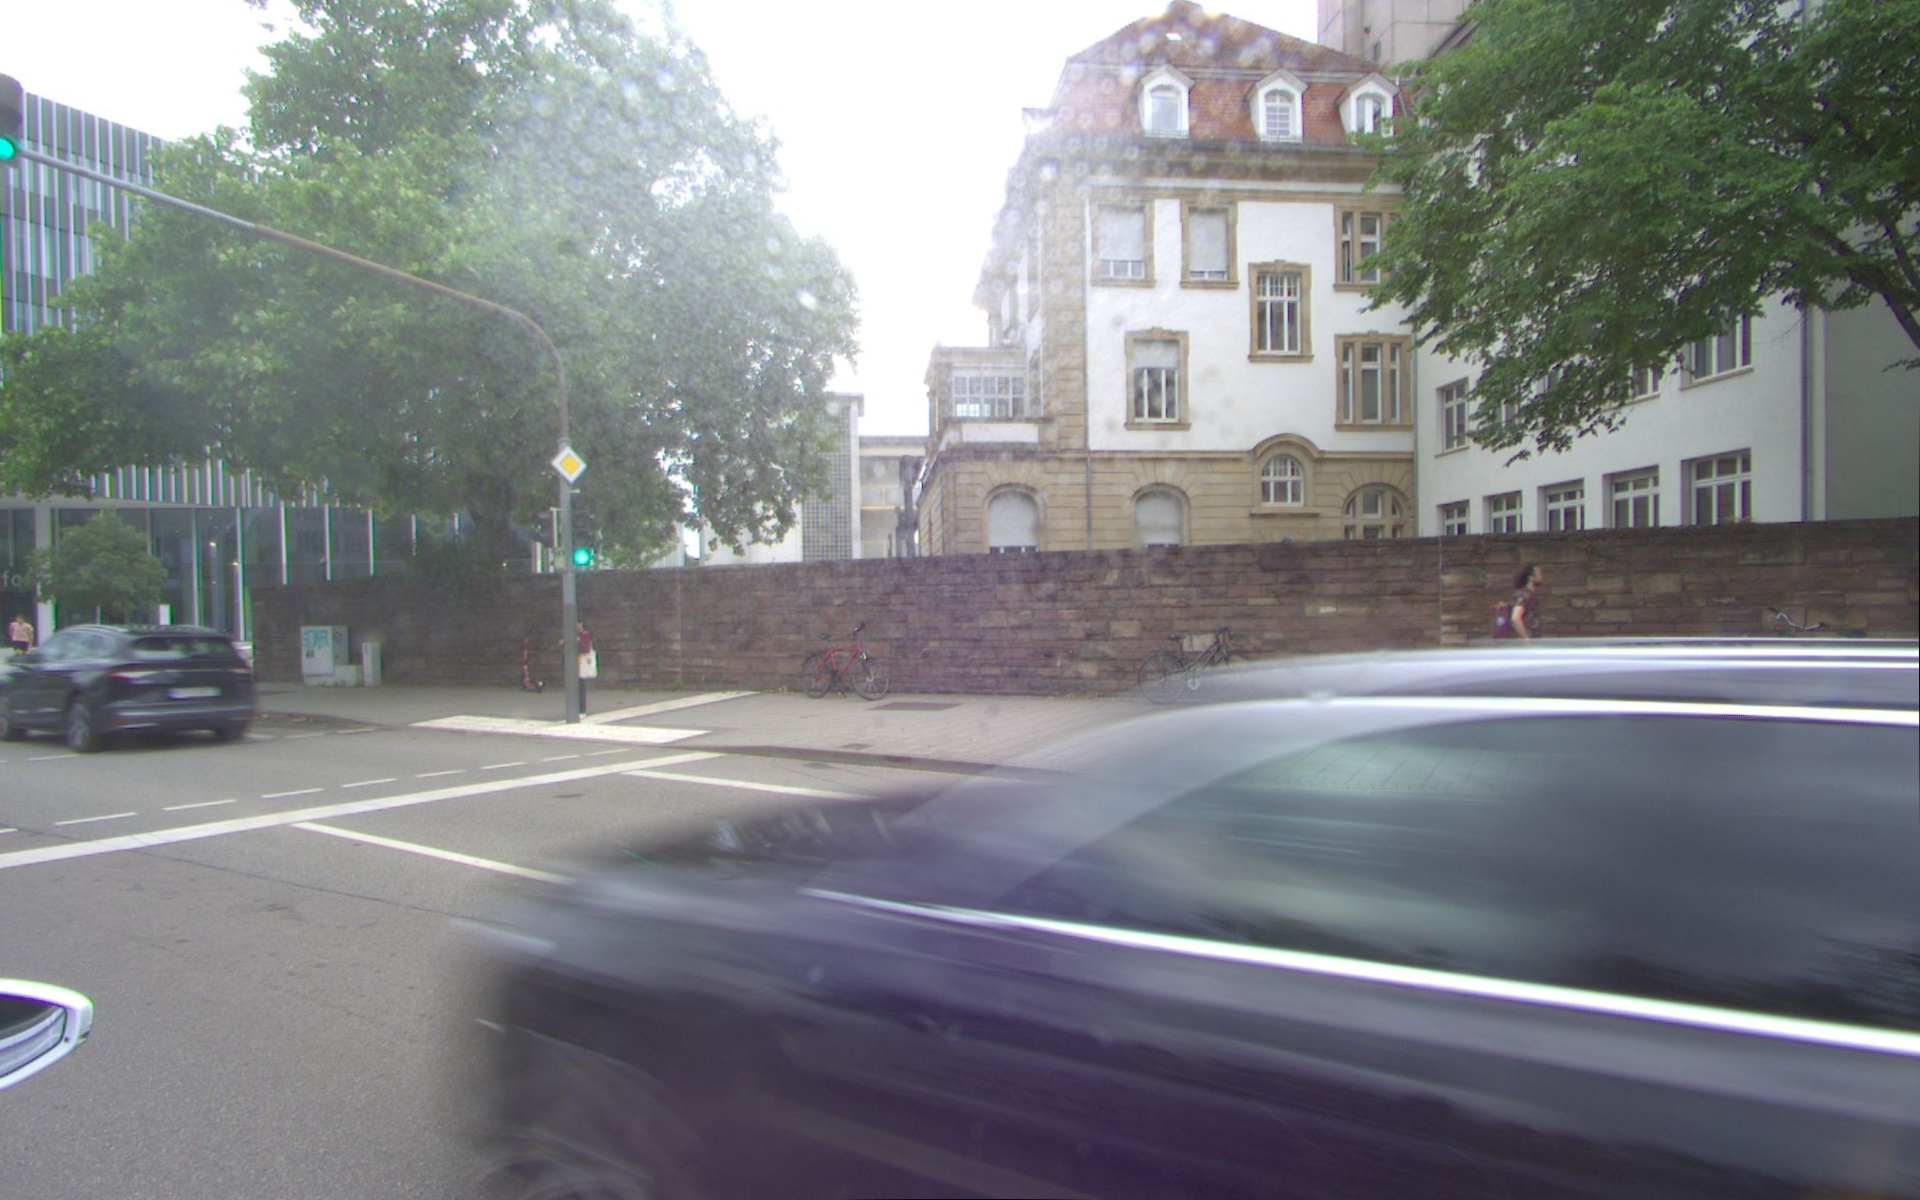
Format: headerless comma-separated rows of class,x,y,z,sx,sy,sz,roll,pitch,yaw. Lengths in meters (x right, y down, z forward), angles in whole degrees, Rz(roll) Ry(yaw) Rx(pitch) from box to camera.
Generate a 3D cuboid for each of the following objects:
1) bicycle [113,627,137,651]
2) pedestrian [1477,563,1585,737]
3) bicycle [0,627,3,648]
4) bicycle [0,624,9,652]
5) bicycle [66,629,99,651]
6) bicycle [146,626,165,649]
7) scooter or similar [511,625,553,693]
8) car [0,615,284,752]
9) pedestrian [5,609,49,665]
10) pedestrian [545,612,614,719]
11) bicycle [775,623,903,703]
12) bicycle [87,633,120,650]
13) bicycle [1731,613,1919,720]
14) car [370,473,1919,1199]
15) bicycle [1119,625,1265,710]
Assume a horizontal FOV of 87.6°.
bicycle,-40.479,1.861,48.551,0.802,1.070,1.933,-2,2,-38
pedestrian,6.336,0.524,11.113,1.018,1.846,0.629,0,2,32
bicycle,-48.437,1.900,49.929,0.613,1.060,1.696,-2,2,-31
bicycle,-46.274,1.819,48.196,0.522,1.270,1.652,-3,2,-39
bicycle,-42.490,1.928,48.520,0.686,0.959,1.975,-2,1,-27
bicycle,-39.227,1.822,48.831,0.616,1.070,1.933,-2,2,-38
scooter or similar,-8.364,1.126,19.536,0.427,1.195,1.693,-3,2,-33
car,-11.580,1.060,13.956,4.425,1.645,1.904,-1,-2,31
pedestrian,-31.021,1.221,33.300,0.756,1.789,0.845,0,2,32
pedestrian,-5.937,1.002,15.639,0.627,1.584,0.658,0,5,32
bicycle,-1.973,0.990,16.291,1.923,1.190,0.802,-1,3,27
bicycle,-41.616,2.014,48.673,0.510,0.726,1.525,-1,1,-11
bicycle,10.184,0.749,11.528,1.889,1.143,0.849,-1,2,17
car,0.934,0.715,2.082,4.382,1.621,1.881,-1,-1,31
bicycle,3.291,0.934,14.150,1.934,1.088,0.941,-1,2,17
